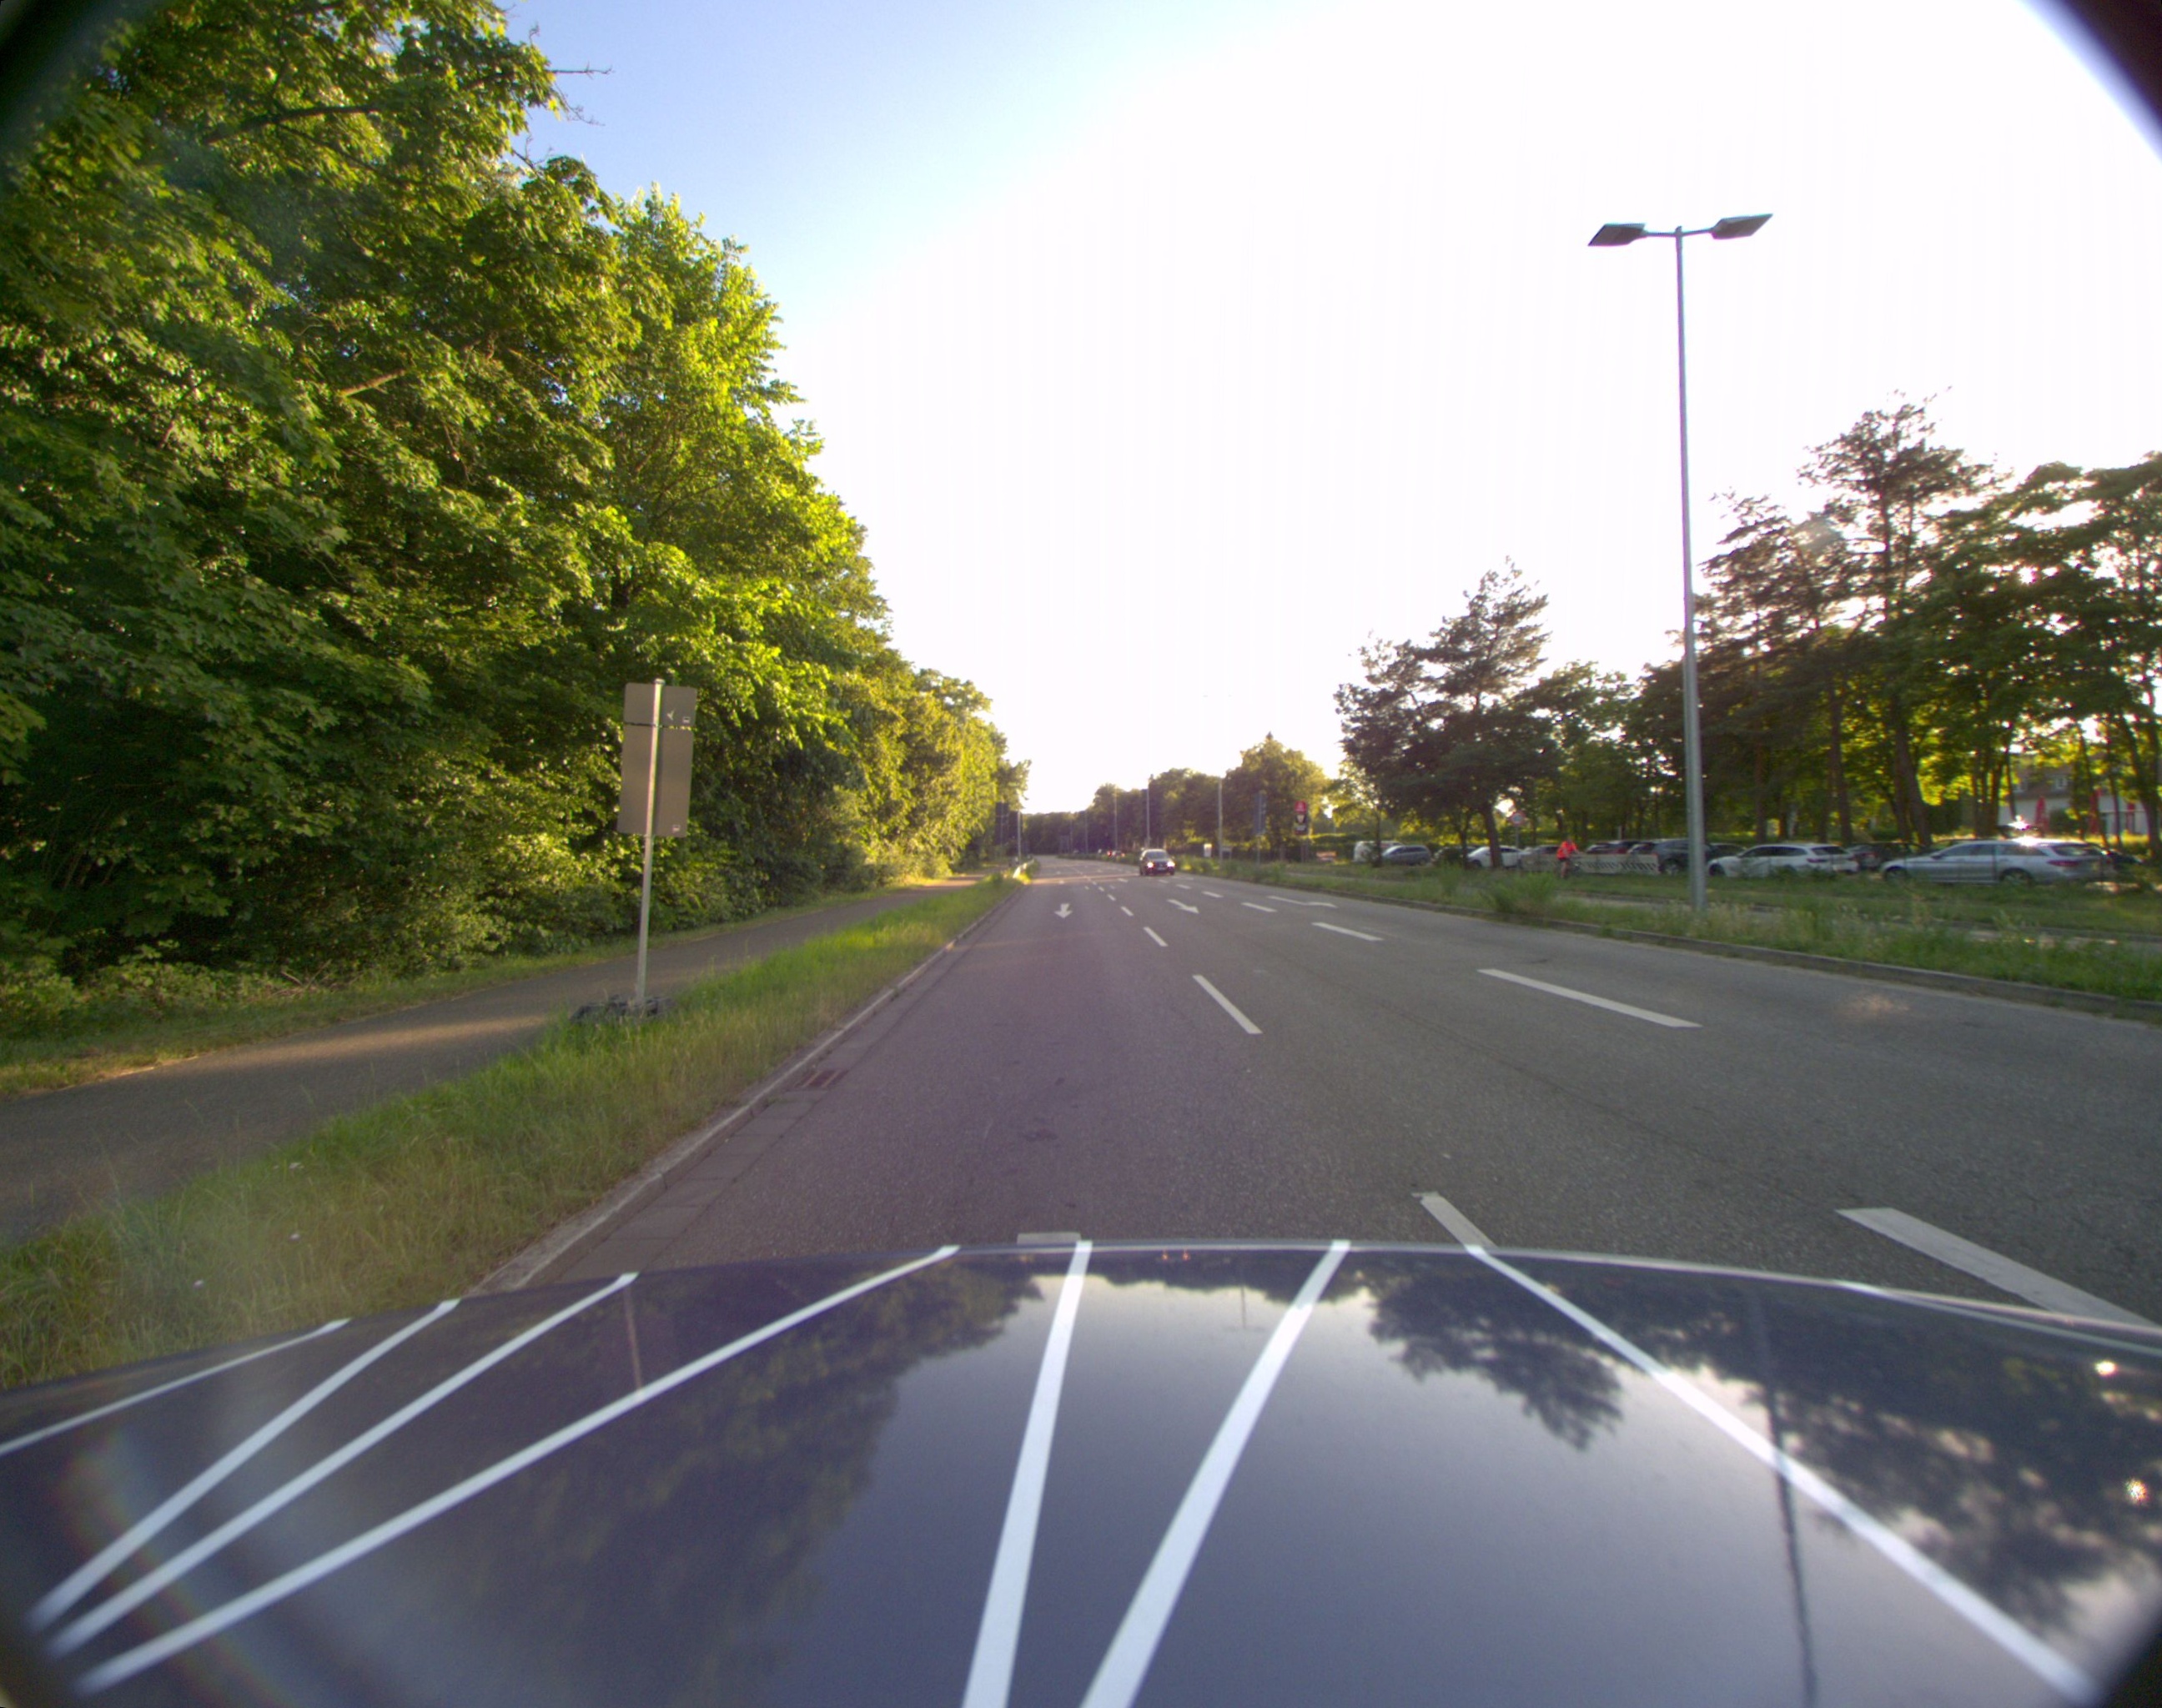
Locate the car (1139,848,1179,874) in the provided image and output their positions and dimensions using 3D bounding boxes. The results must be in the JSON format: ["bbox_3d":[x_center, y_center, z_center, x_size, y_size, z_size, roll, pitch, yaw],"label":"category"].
[{"bbox_3d":[4.768,0.404,46.891,1.999,1.543,3.999,-1,0,-1],"label":"car"}]

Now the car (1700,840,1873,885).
[{"bbox_3d":[26.419,0.263,28.726,1.999,1.539,4.708,-1,1,-4],"label":"car"}]

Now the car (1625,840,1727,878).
[{"bbox_3d":[25.529,0.197,32.660,3.099,1.518,1.659,-1,1,-2],"label":"car"}]

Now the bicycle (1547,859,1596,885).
[{"bbox_3d":[19.224,0.690,29.841,0.493,0.928,2.043,-1,1,-4],"label":"bicycle"}]

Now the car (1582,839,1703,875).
[{"bbox_3d":[26.421,0.116,35.824,4.525,1.608,1.771,-1,1,-3],"label":"car"}]

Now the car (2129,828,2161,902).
[{"bbox_3d":[27.105,0.264,16.409,1.999,1.776,4.920,-1,1,-4],"label":"car"}]

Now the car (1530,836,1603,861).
[{"bbox_3d":[34.121,-0.395,53.472,3.997,1.641,1.766,-1,1,0],"label":"car"}]

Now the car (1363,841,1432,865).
[{"bbox_3d":[24.144,-0.092,58.019,4.498,1.787,1.909,-1,1,-2],"label":"car"}]

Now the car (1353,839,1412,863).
[{"bbox_3d":[24.202,-0.245,61.058,3.998,1.933,1.766,-1,1,-2],"label":"car"}]

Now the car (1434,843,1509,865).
[{"bbox_3d":[25.066,0.005,48.850,3.997,1.304,1.732,-1,1,-1],"label":"car"}]

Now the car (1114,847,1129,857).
[{"bbox_3d":[6.719,-0.336,126.512,1.999,1.486,4.510,-1,0,-5],"label":"car"}]

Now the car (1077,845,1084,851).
[{"bbox_3d":[-0.209,-1.662,210.651,1.760,1.532,3.998,-3,1,-4],"label":"car"}]

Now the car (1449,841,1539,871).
[{"bbox_3d":[25.169,0.136,46.396,4.497,1.743,1.909,-1,1,-1],"label":"car"}]

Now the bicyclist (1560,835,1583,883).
[{"bbox_3d":[19.229,0.178,29.793,0.459,1.863,0.617,-1,1,-6],"label":"bicyclist"}]

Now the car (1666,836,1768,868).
[{"bbox_3d":[34.079,-0.114,40.791,3.997,1.641,1.766,-1,1,0],"label":"car"}]

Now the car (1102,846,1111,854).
[{"bbox_3d":[5.699,-0.944,170.612,1.760,1.532,3.999,-3,1,0],"label":"car"}]

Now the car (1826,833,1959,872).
[{"bbox_3d":[35.419,-0.067,33.236,3.997,1.641,1.766,-1,1,-1],"label":"car"}]

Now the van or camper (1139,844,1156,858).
[{"bbox_3d":[10.393,-0.469,118.701,1.999,2.002,4.576,-1,1,-4],"label":"van or camper"}]

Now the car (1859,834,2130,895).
[{"bbox_3d":[26.774,0.252,22.617,1.999,1.597,4.920,-1,0,-4],"label":"car"}]

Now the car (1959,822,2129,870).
[{"bbox_3d":[34.979,-0.280,27.680,3.997,1.641,1.766,-1,1,-1],"label":"car"}]
